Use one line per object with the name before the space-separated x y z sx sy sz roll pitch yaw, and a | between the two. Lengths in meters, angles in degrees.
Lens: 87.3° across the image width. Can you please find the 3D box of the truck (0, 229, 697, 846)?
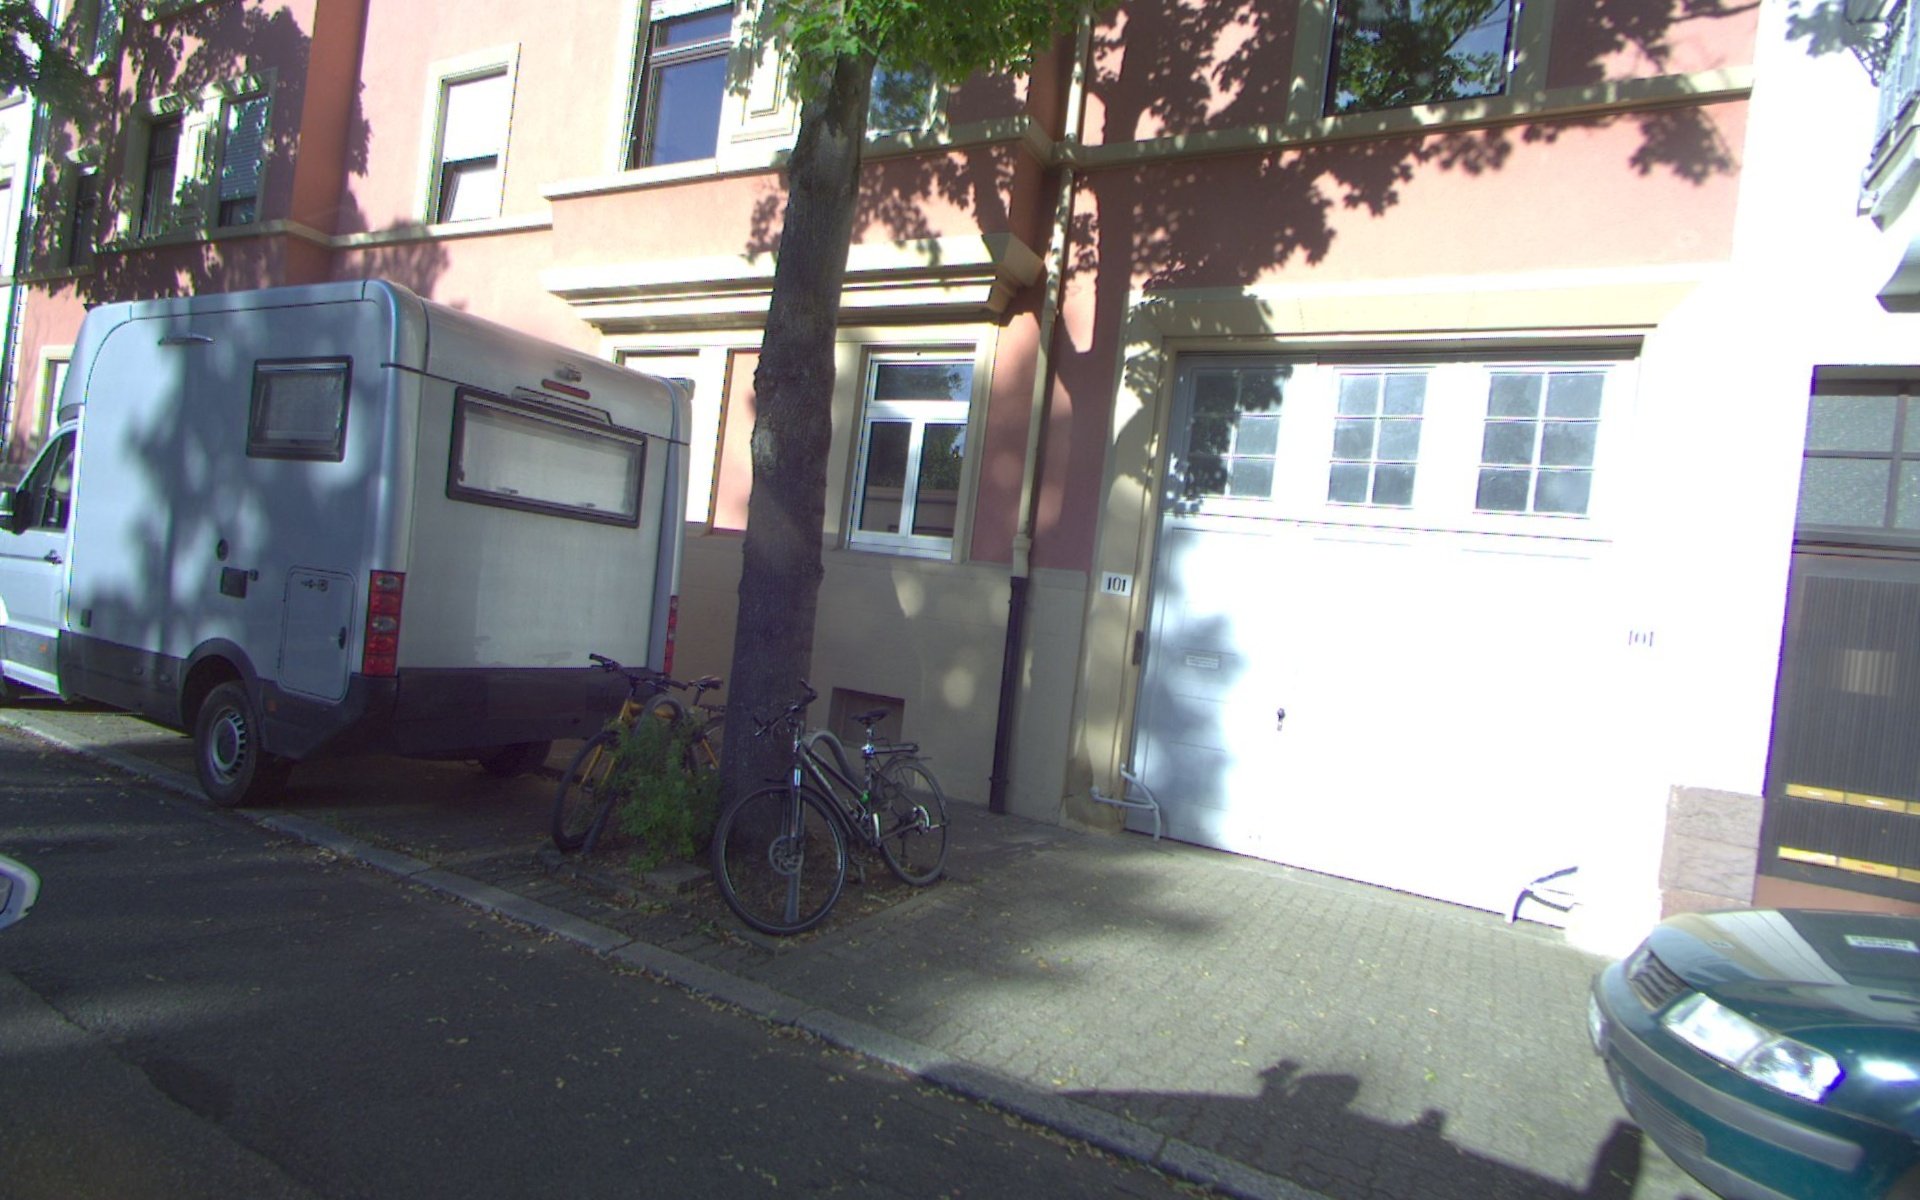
truck | -4.999 -0.571 7.222 6.003 3.008 2.076 7 2 28

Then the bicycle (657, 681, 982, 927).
bicycle | -0.616 0.945 5.141 0.569 0.960 1.789 7 -1 30

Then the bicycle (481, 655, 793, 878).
bicycle | -1.782 0.884 5.861 0.694 1.012 1.708 7 -1 22

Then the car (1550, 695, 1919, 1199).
car | 4.182 1.354 2.307 4.700 1.548 1.753 7 0 30

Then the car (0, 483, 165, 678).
car | -10.568 -0.406 10.287 4.857 1.737 1.889 7 0 27
